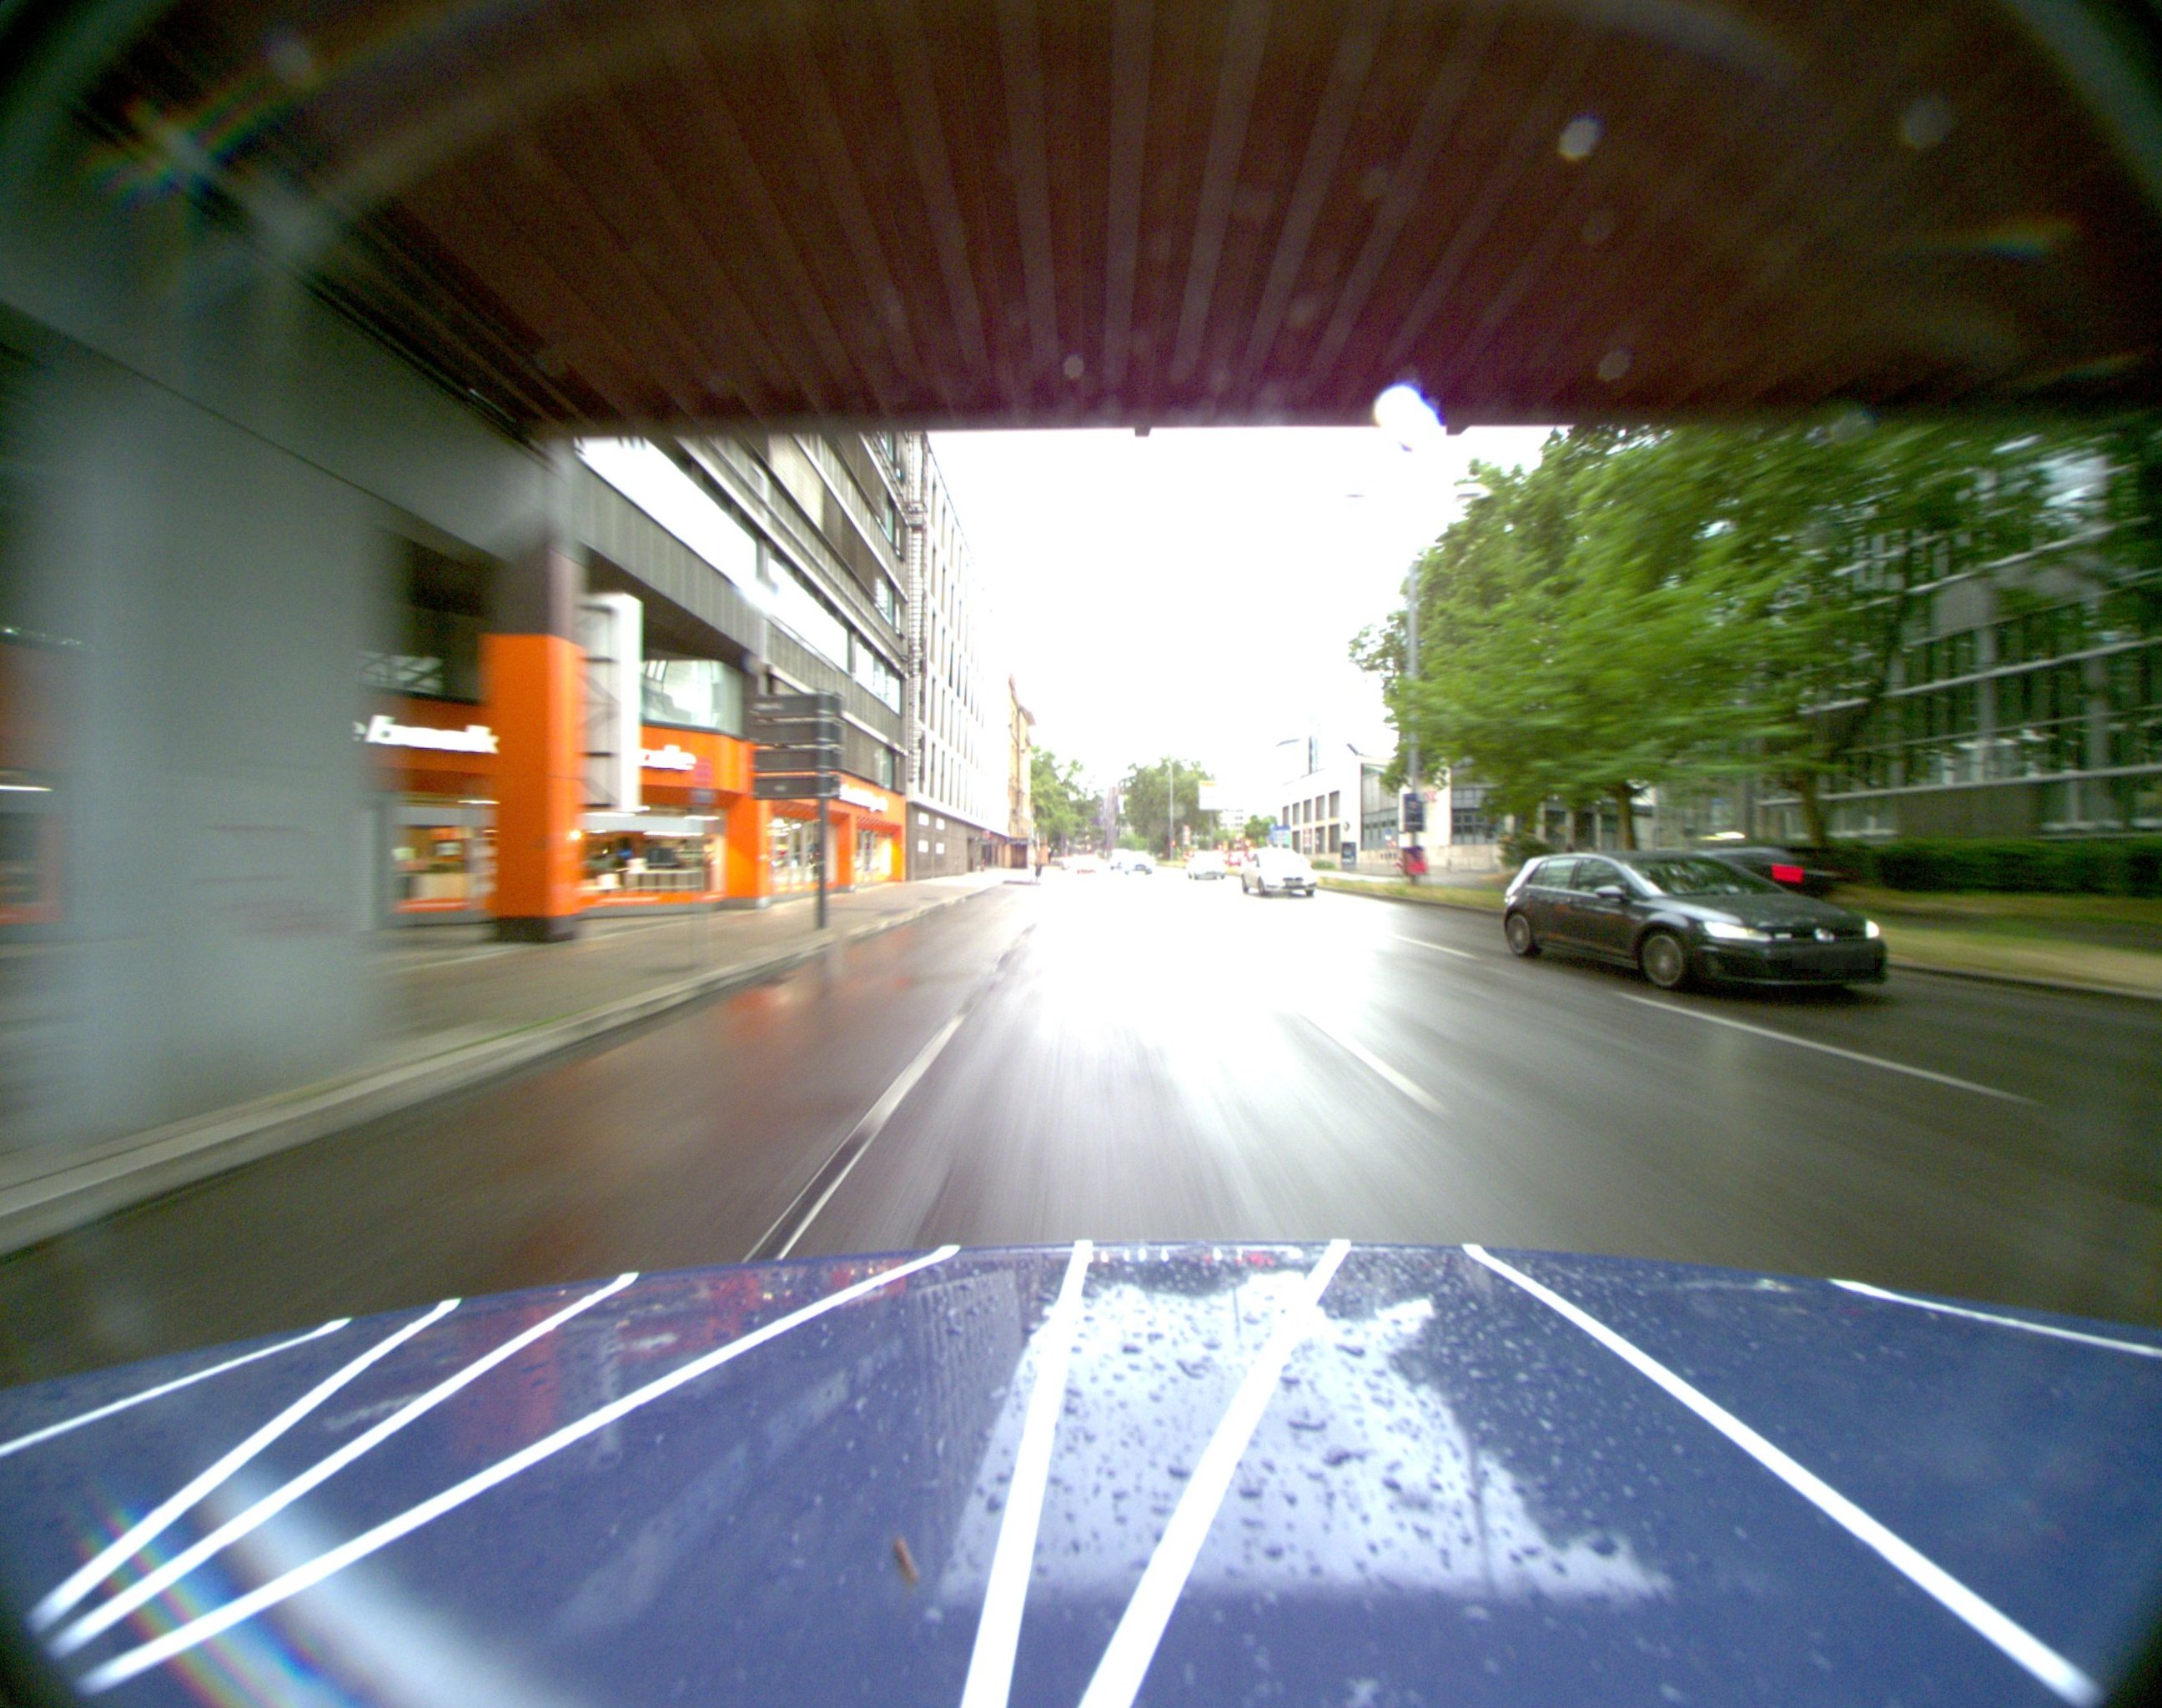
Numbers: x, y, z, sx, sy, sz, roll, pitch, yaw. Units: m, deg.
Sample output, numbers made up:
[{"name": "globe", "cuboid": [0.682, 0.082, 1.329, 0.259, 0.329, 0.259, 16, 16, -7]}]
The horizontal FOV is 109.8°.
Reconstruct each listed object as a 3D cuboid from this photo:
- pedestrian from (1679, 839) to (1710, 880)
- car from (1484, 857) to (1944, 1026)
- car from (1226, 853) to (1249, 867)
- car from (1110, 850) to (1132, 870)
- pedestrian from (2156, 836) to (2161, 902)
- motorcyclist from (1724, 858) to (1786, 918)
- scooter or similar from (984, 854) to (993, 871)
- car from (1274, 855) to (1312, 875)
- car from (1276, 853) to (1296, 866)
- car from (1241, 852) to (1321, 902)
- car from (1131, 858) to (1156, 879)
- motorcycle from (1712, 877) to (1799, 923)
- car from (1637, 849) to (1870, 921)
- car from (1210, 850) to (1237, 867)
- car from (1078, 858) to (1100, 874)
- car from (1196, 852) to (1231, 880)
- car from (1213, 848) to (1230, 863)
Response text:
[{"name": "pedestrian", "cuboid": [27.664, 0.240, 34.252, 0.736, 1.797, 0.802, -1, 0, 1]}, {"name": "car", "cuboid": [6.733, 0.780, 8.810, 1.789, 1.444, 4.122, -1, 0, -3]}, {"name": "car", "cuboid": [17.552, 0.674, 85.309, 1.695, 1.430, 4.758, 0, 1, 1]}, {"name": "car", "cuboid": [3.677, 0.516, 70.380, 1.998, 1.734, 3.910, -1, 0, 2]}, {"name": "pedestrian", "cuboid": [27.493, 0.374, 18.976, 0.561, 1.676, 0.511, -1, 0, 1]}, {"name": "motorcyclist", "cuboid": [16.618, 0.818, 18.752, 0.639, 1.410, 0.970, 0, 1, 1]}, {"name": "scooter or similar", "cuboid": [-7.106, 0.644, 58.357, 0.412, 1.229, 1.190, -1, 0, 9]}, {"name": "car", "cuboid": [16.169, 0.816, 58.077, 1.666, 1.455, 4.080, 2, 1, -1]}, {"name": "car", "cuboid": [23.061, 0.564, 85.478, 1.595, 1.407, 3.402, 0, 1, 5]}, {"name": "car", "cuboid": [6.943, 0.748, 26.809, 1.781, 1.587, 3.999, -1, 1, 0]}, {"name": "car", "cuboid": [4.532, 1.026, 54.756, 1.716, 1.433, 3.495, 1, 0, 6]}, {"name": "motorcycle", "cuboid": [16.620, 1.101, 18.779, 0.586, 1.015, 1.805, 0, 0, 1]}, {"name": "car", "cuboid": [19.180, 0.776, 22.121, 2.005, 1.758, 5.184, 3, 0, -1]}, {"name": "car", "cuboid": [14.519, 0.457, 77.684, 1.878, 1.671, 4.680, 0, 1, 1]}, {"name": "car", "cuboid": [0.645, 0.954, 61.713, 1.716, 1.274, 3.494, 0, 0, 0]}, {"name": "car", "cuboid": [7.432, 0.657, 42.830, 1.611, 1.433, 3.495, -3, 1, 5]}, {"name": "car", "cuboid": [19.606, 0.138, 106.207, 1.835, 1.991, 5.105, 0, 1, 5]}]
